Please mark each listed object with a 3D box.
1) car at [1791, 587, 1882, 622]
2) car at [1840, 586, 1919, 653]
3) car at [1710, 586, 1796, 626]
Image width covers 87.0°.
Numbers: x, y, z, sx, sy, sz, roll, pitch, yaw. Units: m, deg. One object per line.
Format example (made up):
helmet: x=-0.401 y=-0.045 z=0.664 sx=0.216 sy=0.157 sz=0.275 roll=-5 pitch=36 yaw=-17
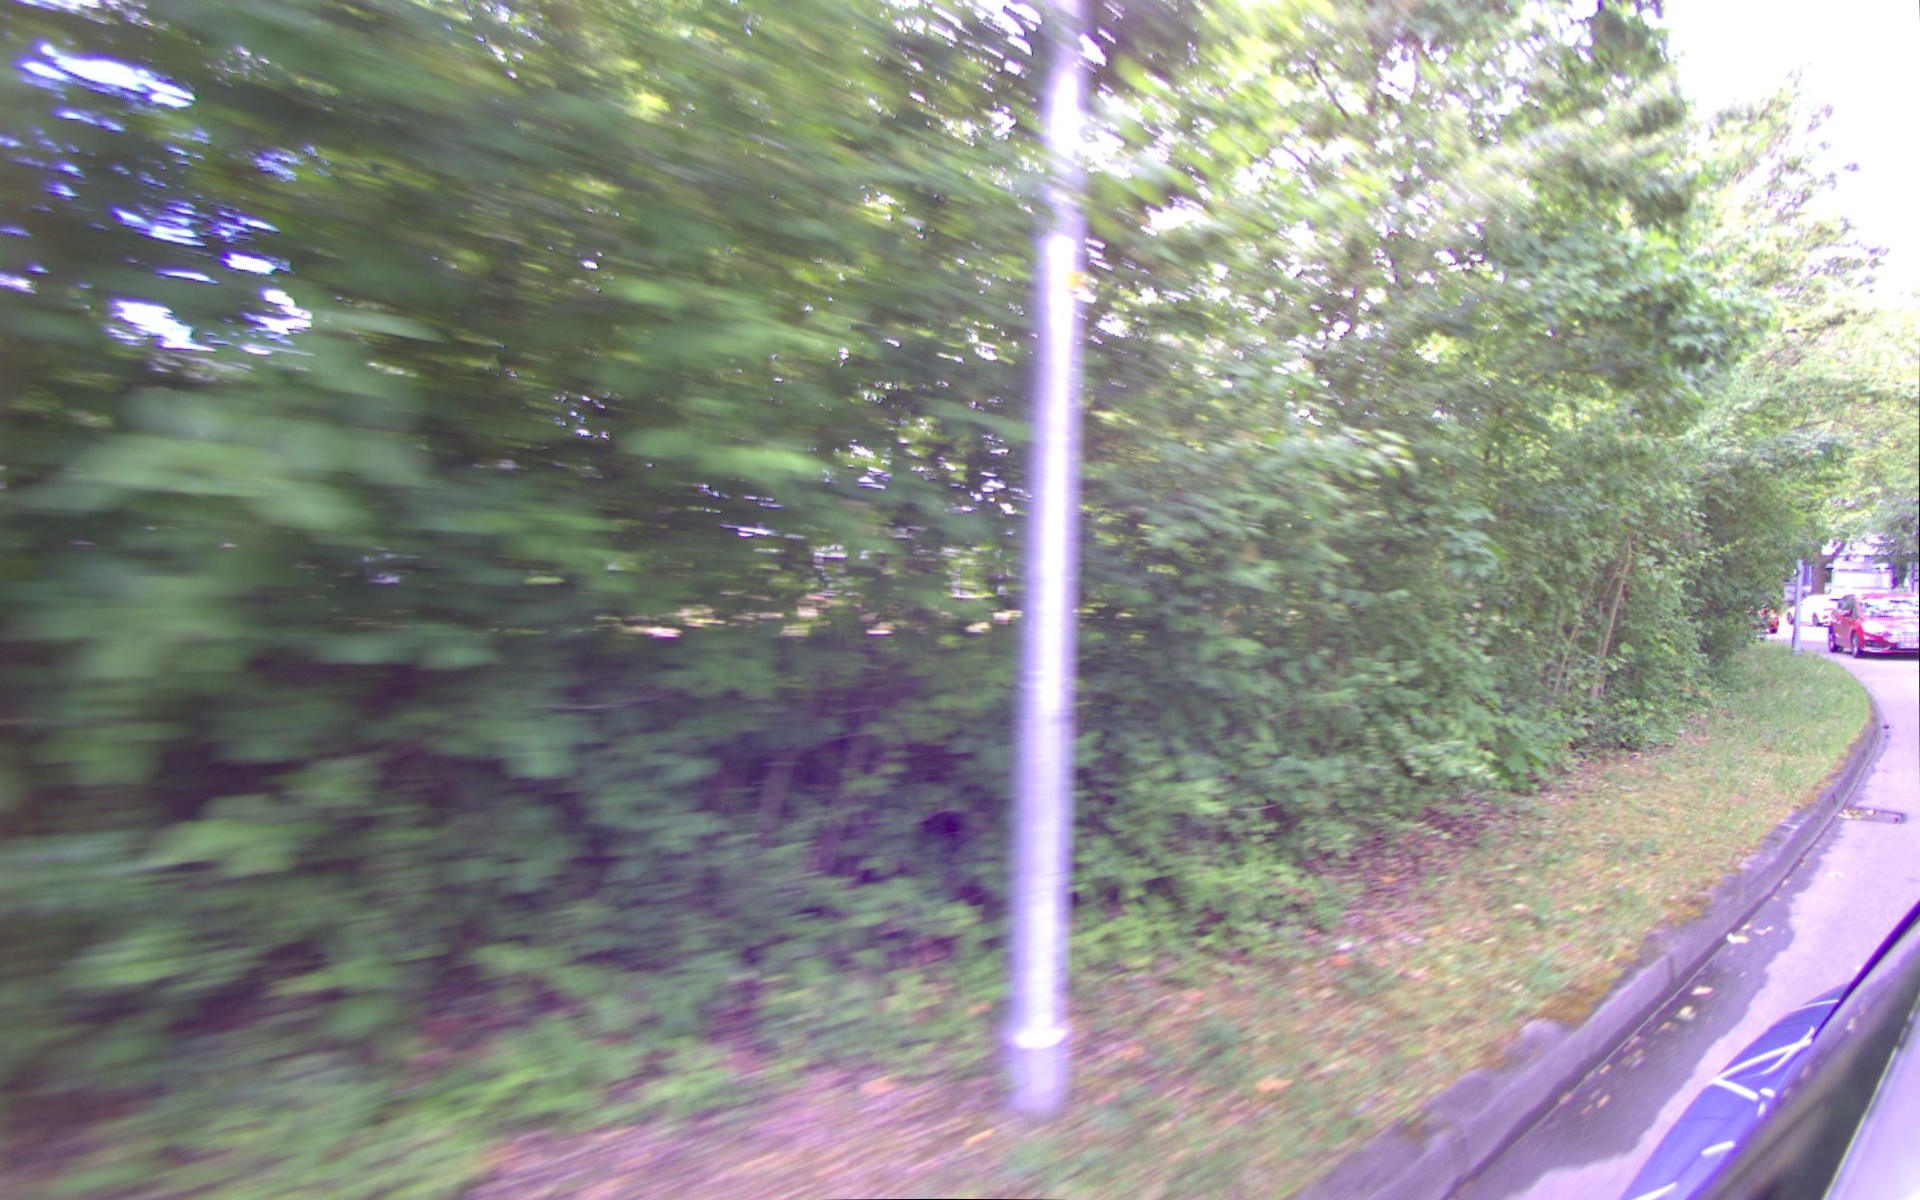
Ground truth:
car: x=39.735 y=0.152 z=45.995 sx=1.832 sy=1.510 sz=3.972 roll=1 pitch=1 yaw=21
car: x=24.444 y=0.451 z=26.198 sx=1.933 sy=1.578 sz=4.304 roll=0 pitch=1 yaw=33
car: x=32.787 y=0.213 z=41.980 sx=1.929 sy=1.551 sz=4.051 roll=0 pitch=0 yaw=25
